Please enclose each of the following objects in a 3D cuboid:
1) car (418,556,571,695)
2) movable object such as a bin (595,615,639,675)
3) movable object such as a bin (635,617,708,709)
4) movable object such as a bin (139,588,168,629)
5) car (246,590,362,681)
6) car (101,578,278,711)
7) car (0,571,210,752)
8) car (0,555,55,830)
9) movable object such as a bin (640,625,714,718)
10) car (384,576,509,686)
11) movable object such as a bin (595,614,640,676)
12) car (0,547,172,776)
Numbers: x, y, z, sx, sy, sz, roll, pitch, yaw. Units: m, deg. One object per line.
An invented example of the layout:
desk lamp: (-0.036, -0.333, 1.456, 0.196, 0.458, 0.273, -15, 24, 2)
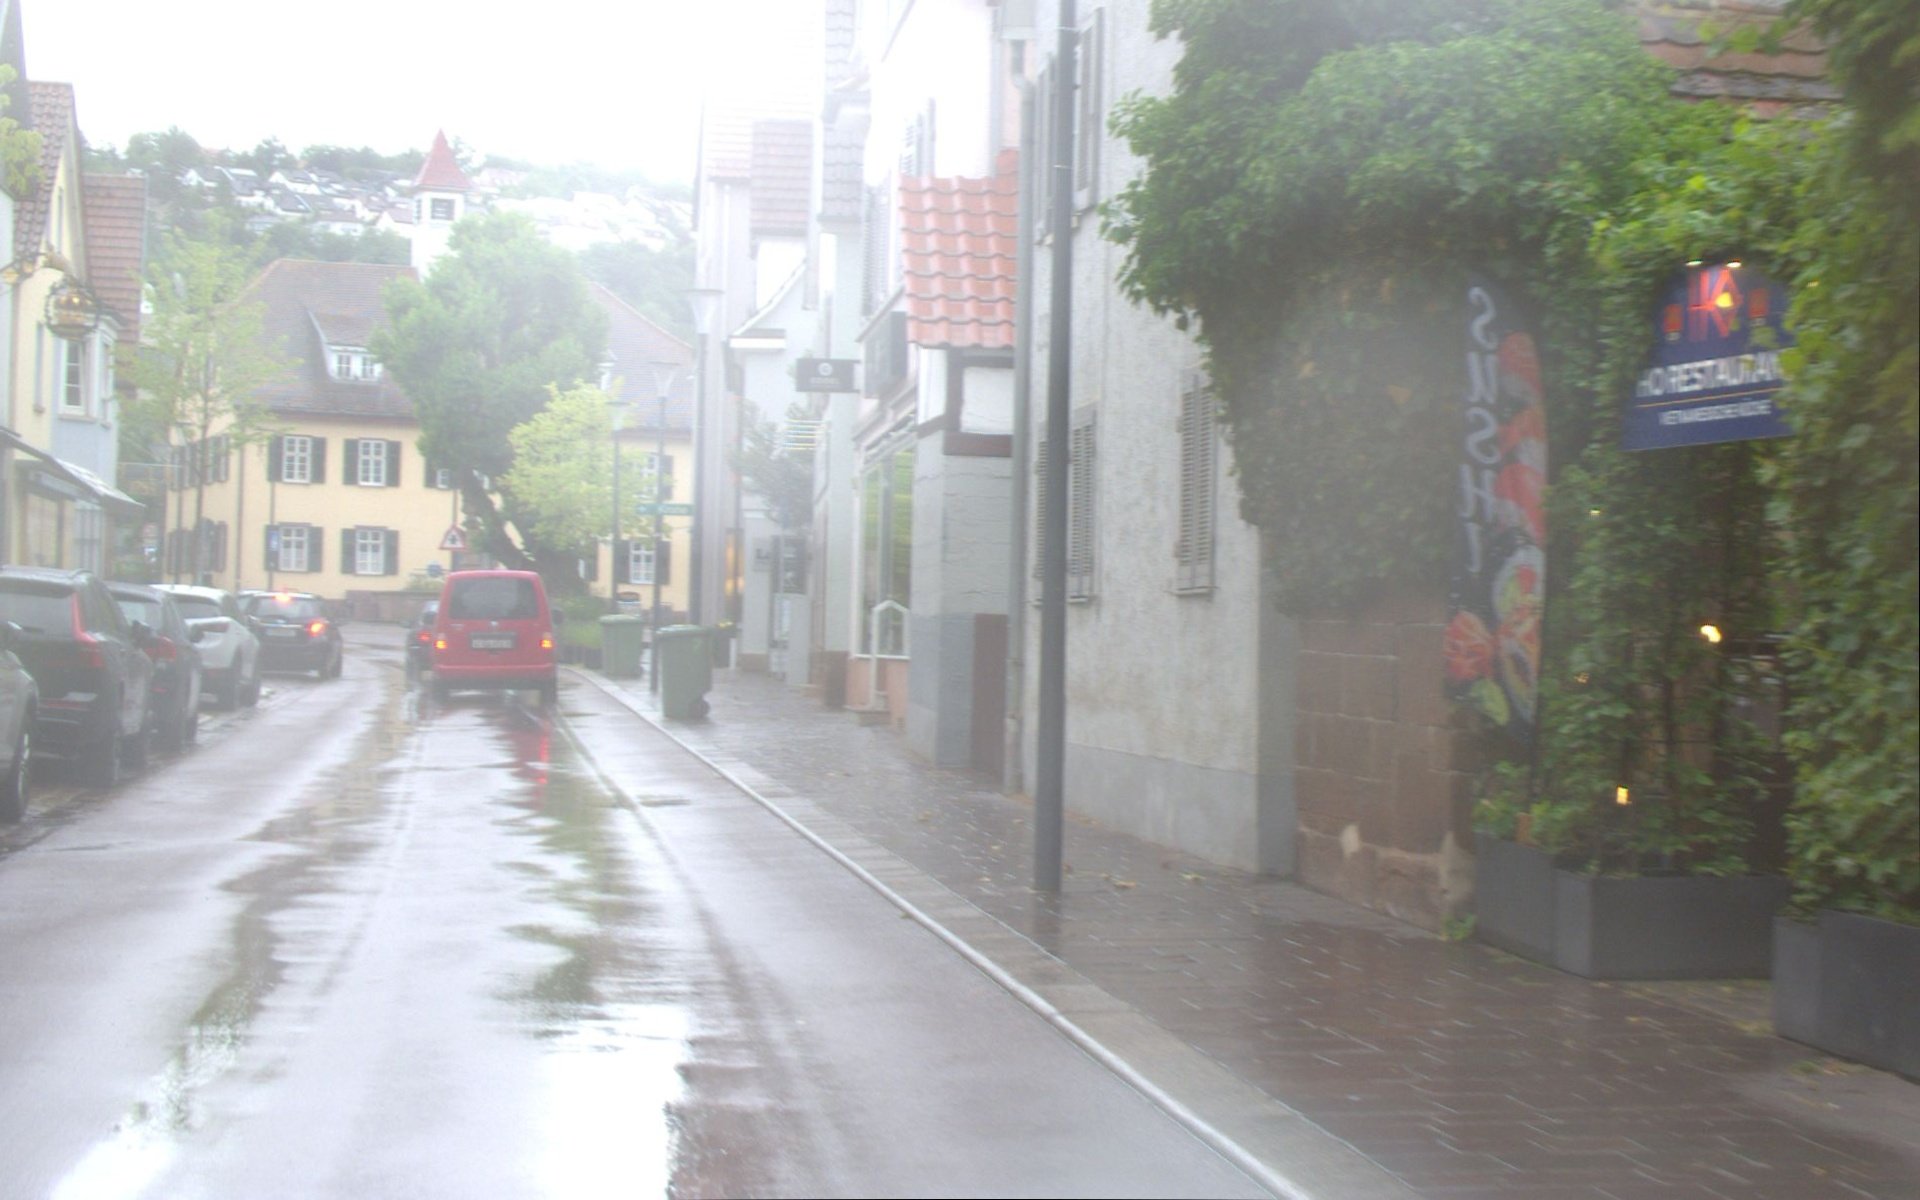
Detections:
car: (-6.582, 0.325, 48.967, 1.894, 1.805, 4.001, 3, 0, -5)
movable object such as a bin: (-6.238, 0.822, 62.465, 0.754, 1.060, 0.600, 2, -2, -7)
movable object such as a bin: (-3.435, 0.750, 40.885, 0.796, 1.077, 0.583, 1, -1, -10)
movable object such as a bin: (-22.359, 0.243, 95.302, 0.714, 1.102, 0.600, 3, -2, -17)
car: (-11.522, 0.598, 60.534, 1.691, 1.438, 3.885, 2, 0, -7)
car: (-9.861, 0.534, 44.241, 1.691, 1.533, 4.121, 3, 0, -6)
car: (-8.388, 0.549, 33.498, 1.779, 1.533, 4.291, 3, 0, -9)
car: (-6.683, 0.526, 20.525, 1.823, 1.661, 4.643, 2, -2, -7)
movable object such as a bin: (-3.313, 0.837, 40.218, 0.792, 1.077, 0.615, 1, -1, -10)
car: (-9.045, 0.572, 60.364, 1.993, 1.793, 4.001, 2, -2, -10)
movable object such as a bin: (-6.157, 0.816, 61.808, 0.768, 1.076, 0.599, 2, -2, -7)
car: (-7.486, 0.491, 27.600, 1.823, 1.661, 4.643, 2, -2, -8)
